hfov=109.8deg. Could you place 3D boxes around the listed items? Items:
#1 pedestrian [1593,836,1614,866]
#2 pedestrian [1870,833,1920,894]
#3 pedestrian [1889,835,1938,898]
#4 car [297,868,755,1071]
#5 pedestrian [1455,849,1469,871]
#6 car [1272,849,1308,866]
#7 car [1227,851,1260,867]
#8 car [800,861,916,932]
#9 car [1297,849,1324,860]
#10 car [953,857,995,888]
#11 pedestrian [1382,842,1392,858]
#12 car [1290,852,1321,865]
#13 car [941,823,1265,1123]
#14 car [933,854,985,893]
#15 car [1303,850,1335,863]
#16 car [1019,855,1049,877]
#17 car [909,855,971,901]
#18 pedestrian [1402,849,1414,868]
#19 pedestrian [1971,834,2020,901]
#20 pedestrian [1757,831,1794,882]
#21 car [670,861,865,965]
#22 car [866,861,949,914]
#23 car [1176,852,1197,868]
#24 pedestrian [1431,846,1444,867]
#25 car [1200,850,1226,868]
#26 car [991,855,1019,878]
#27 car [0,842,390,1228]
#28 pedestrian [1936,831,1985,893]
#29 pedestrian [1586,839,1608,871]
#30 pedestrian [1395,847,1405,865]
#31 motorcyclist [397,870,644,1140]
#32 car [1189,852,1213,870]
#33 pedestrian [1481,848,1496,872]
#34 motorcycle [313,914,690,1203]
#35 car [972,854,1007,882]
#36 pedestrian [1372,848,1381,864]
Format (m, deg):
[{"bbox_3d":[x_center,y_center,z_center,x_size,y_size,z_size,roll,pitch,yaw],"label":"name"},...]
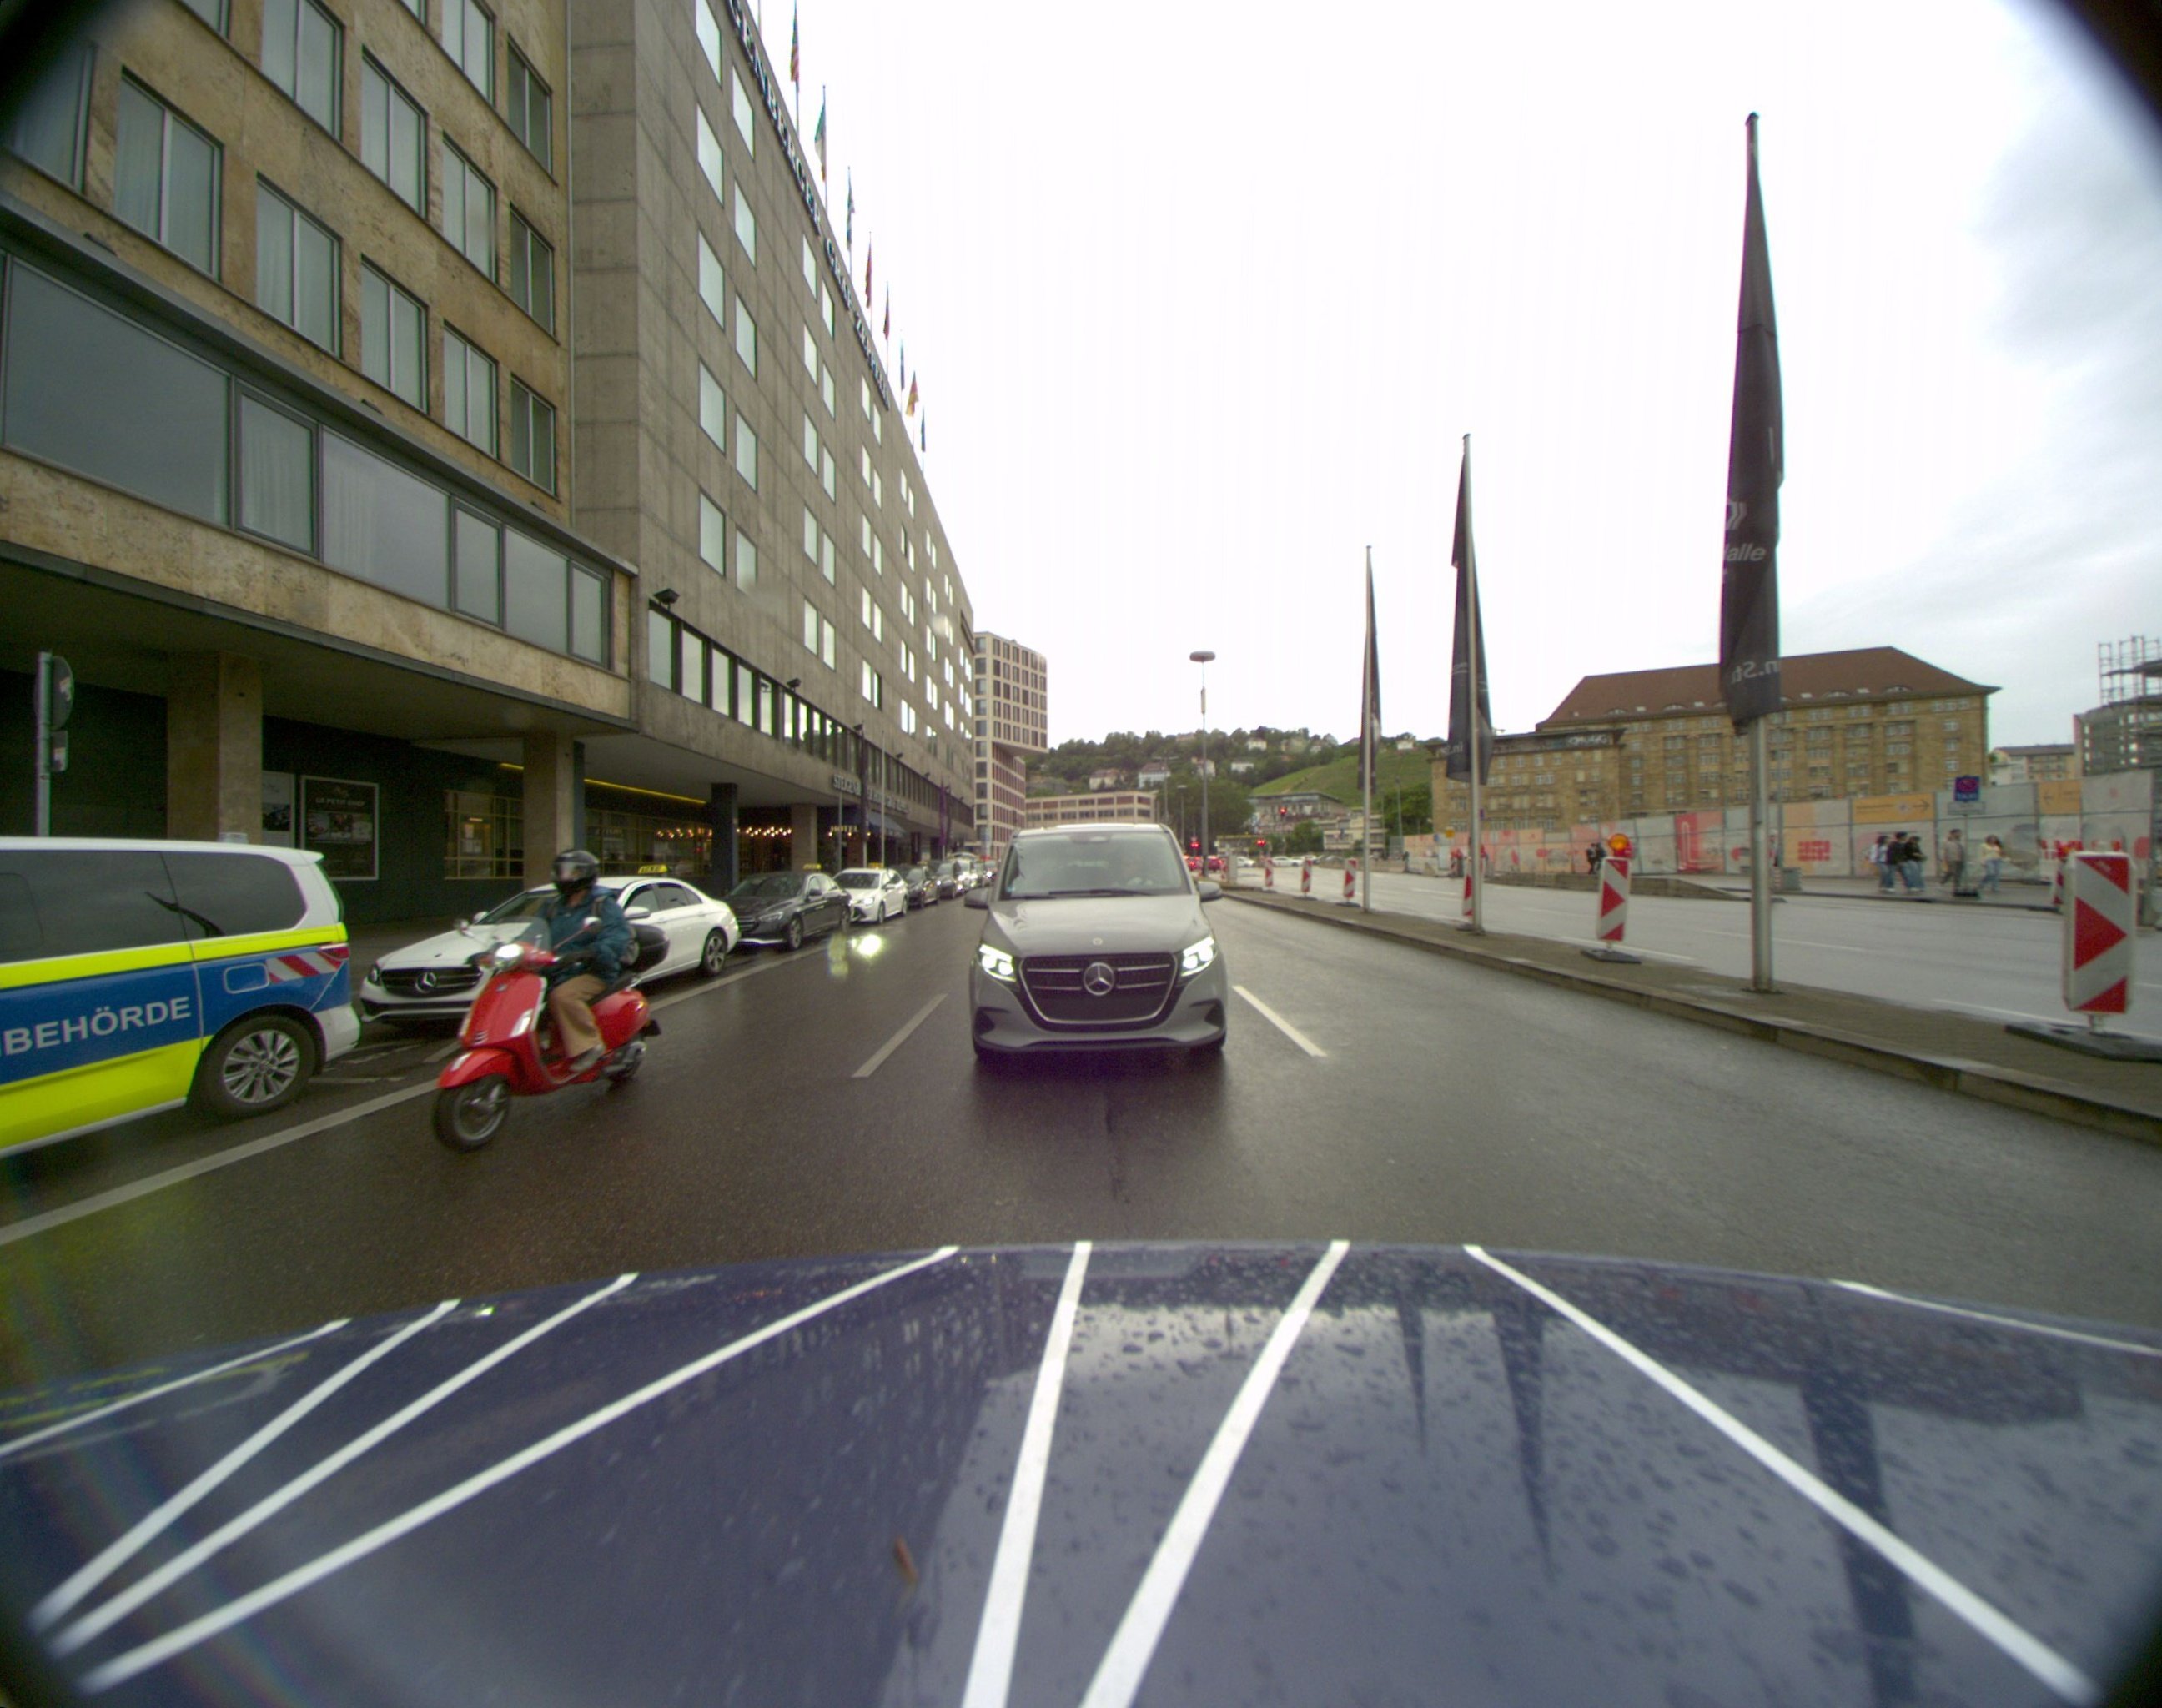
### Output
[{"bbox_3d":[27.902,-0.156,40.609,0.715,1.606,0.544,-2,1,1],"label":"pedestrian"},{"bbox_3d":[23.616,0.279,22.045,0.714,1.723,0.718,-2,1,19],"label":"pedestrian"},{"bbox_3d":[24.633,0.370,22.490,0.714,1.825,0.718,-2,1,19],"label":"pedestrian"},{"bbox_3d":[-6.085,1.096,9.373,1.879,1.628,5.010,-2,1,0],"label":"car"},{"bbox_3d":[27.669,0.433,55.228,0.715,1.606,0.544,-2,1,1],"label":"pedestrian"},{"bbox_3d":[26.914,0.502,97.710,3.989,2.002,2.003,-2,1,30],"label":"car"},{"bbox_3d":[22.587,0.673,105.776,3.989,2.002,2.004,-2,1,34],"label":"car"},{"bbox_3d":[-6.034,1.078,21.184,1.731,1.583,4.813,-2,1,0],"label":"car"},{"bbox_3d":[36.885,0.059,122.243,3.993,1.622,2.002,-1,0,14],"label":"car"},{"bbox_3d":[-6.117,1.037,43.874,1.731,1.604,4.001,-2,1,0],"label":"car"},{"bbox_3d":[30.576,-0.425,75.941,0.715,1.606,0.544,-2,1,5],"label":"pedestrian"},{"bbox_3d":[34.920,0.727,118.264,4.194,1.846,1.832,-2,1,6],"label":"car"},{"bbox_3d":[0.181,0.743,7.434,1.998,1.849,5.159,-2,1,1],"label":"car"},{"bbox_3d":[-6.082,0.932,38.367,1.731,1.732,4.813,-2,1,0],"label":"car"},{"bbox_3d":[32.404,0.365,103.526,3.993,1.622,2.002,-1,0,14],"label":"car"},{"bbox_3d":[-3.707,0.951,60.799,2.089,1.540,4.587,-2,1,0],"label":"car"},{"bbox_3d":[-6.044,0.976,33.170,1.731,1.732,4.813,-2,1,0],"label":"car"},{"bbox_3d":[28.126,0.348,65.395,0.715,1.606,0.544,-2,1,1],"label":"pedestrian"},{"bbox_3d":[25.720,0.378,21.379,0.661,1.825,0.556,-2,1,21],"label":"pedestrian"},{"bbox_3d":[25.170,0.087,27.553,0.664,1.825,0.720,-2,1,1],"label":"pedestrian"},{"bbox_3d":[-6.068,1.042,15.456,1.879,1.628,4.813,-2,1,0],"label":"car"},{"bbox_3d":[-6.037,1.105,26.999,1.731,1.583,4.813,-2,1,0],"label":"car"},{"bbox_3d":[11.852,0.686,85.621,1.785,1.684,3.916,-2,1,-1],"label":"car"},{"bbox_3d":[27.608,0.209,58.830,0.715,1.606,0.544,-2,1,1],"label":"pedestrian"},{"bbox_3d":[12.595,0.493,72.627,1.785,1.684,3.916,-1,0,0],"label":"car"},{"bbox_3d":[-5.896,0.925,59.373,1.731,1.604,4.001,-2,1,0],"label":"car"},{"bbox_3d":[-6.316,0.935,3.370,1.879,1.909,4.935,-2,1,0],"label":"car"},{"bbox_3d":[25.032,0.223,21.629,0.714,1.734,0.564,-2,1,21],"label":"pedestrian"},{"bbox_3d":[26.084,0.049,38.428,0.715,1.606,0.544,-2,1,1],"label":"pedestrian"},{"bbox_3d":[29.449,0.178,70.137,0.715,1.606,0.544,-2,1,1],"label":"pedestrian"},{"bbox_3d":[-3.498,0.888,4.839,0.861,1.519,0.844,-2,1,1],"label":"motorcyclist"},{"bbox_3d":[12.337,0.731,78.249,1.785,1.684,3.916,-2,1,-1],"label":"car"},{"bbox_3d":[28.117,0.384,52.466,0.715,1.606,0.544,-2,1,1],"label":"pedestrian"},{"bbox_3d":[-3.496,1.137,4.906,0.848,1.299,1.965,-2,1,1],"label":"motorcycle"},{"bbox_3d":[-5.864,0.882,49.053,1.731,1.604,4.001,-2,1,0],"label":"car"},{"bbox_3d":[29.597,0.180,76.084,0.715,1.606,0.544,-2,1,5],"label":"pedestrian"}]
